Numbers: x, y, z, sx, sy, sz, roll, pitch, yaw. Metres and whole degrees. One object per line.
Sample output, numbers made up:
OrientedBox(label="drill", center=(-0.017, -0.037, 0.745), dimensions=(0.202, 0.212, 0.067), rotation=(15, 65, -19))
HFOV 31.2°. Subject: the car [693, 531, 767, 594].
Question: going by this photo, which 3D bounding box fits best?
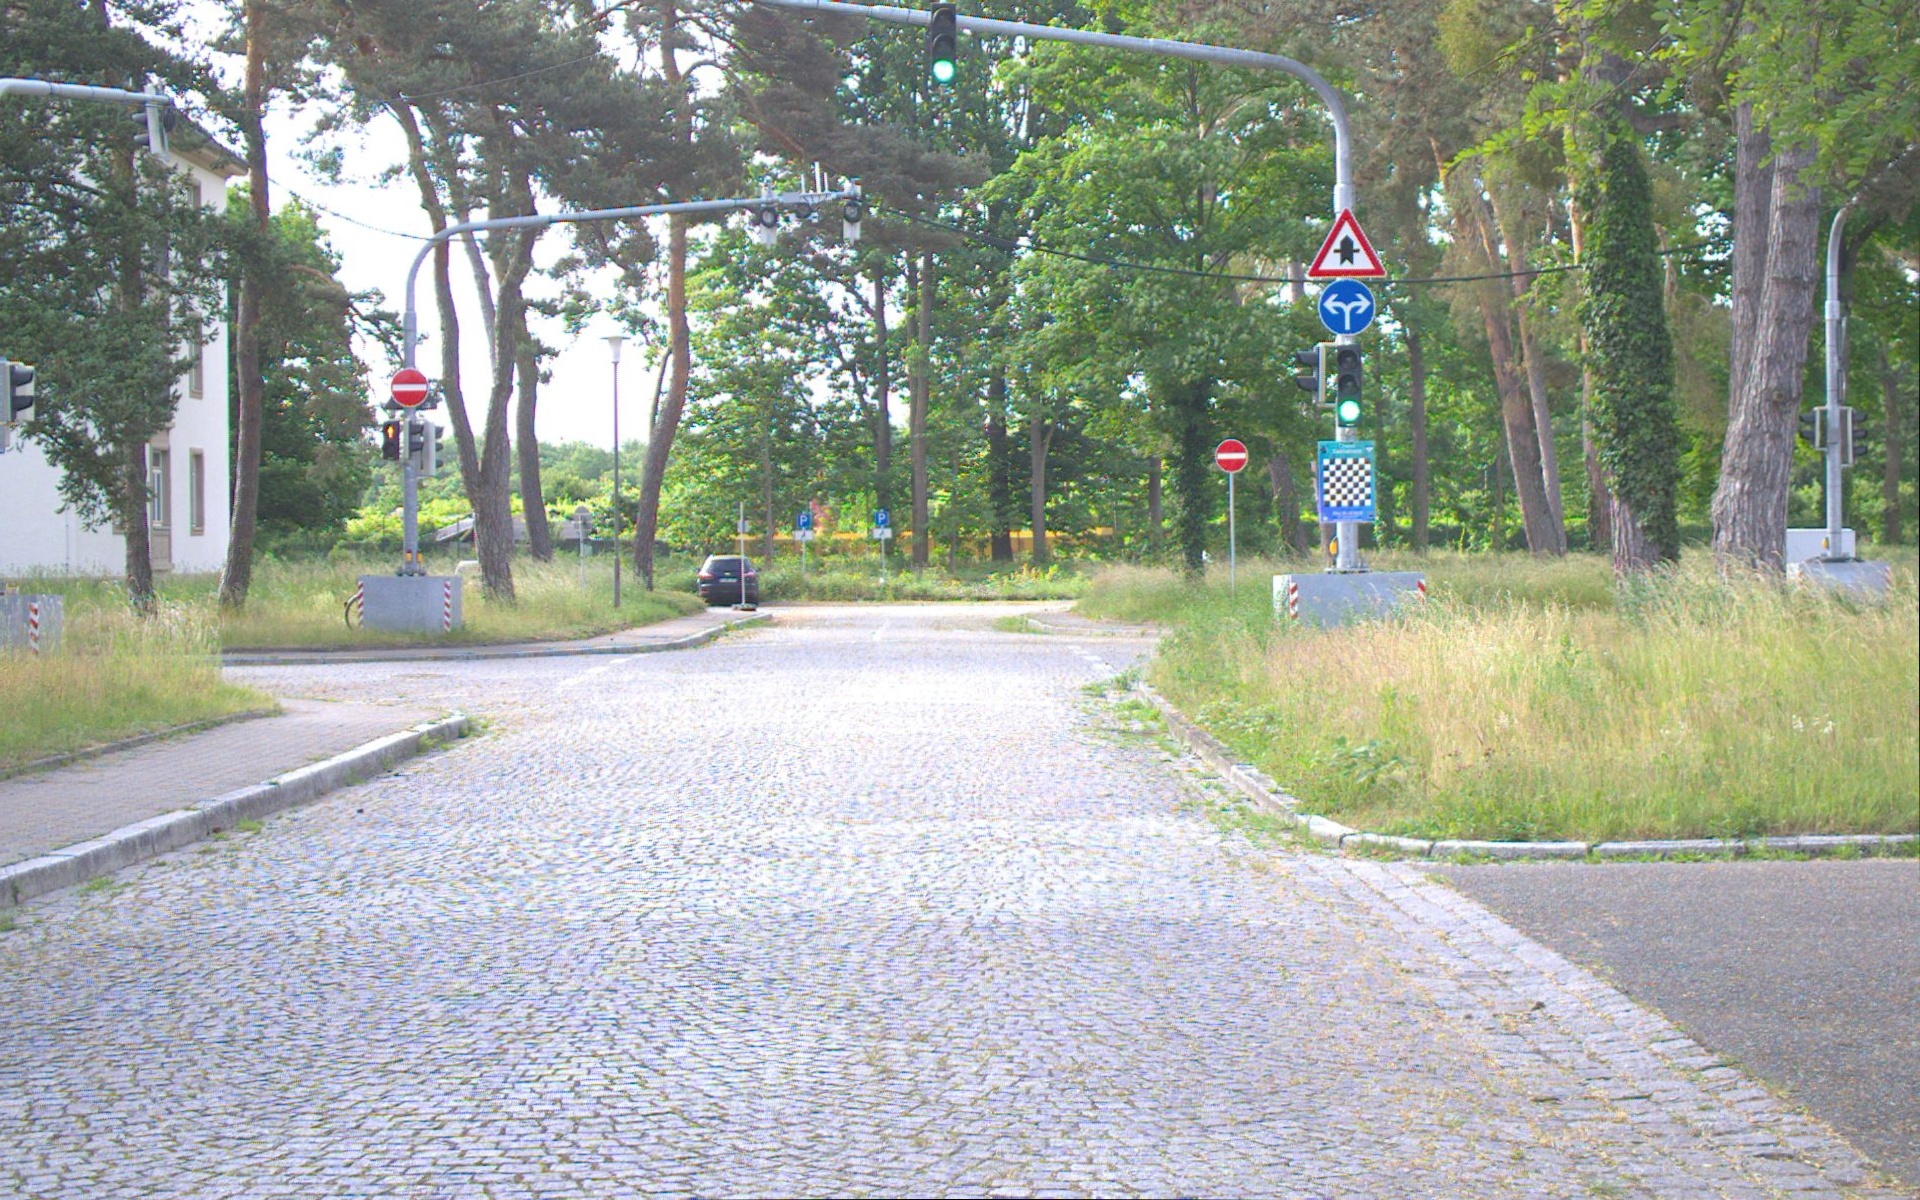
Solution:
OrientedBox(label="car", center=(-6.935, -1.145, 103.983), dimensions=(2.056, 1.840, 4.000), rotation=(-1, 1, -1))
